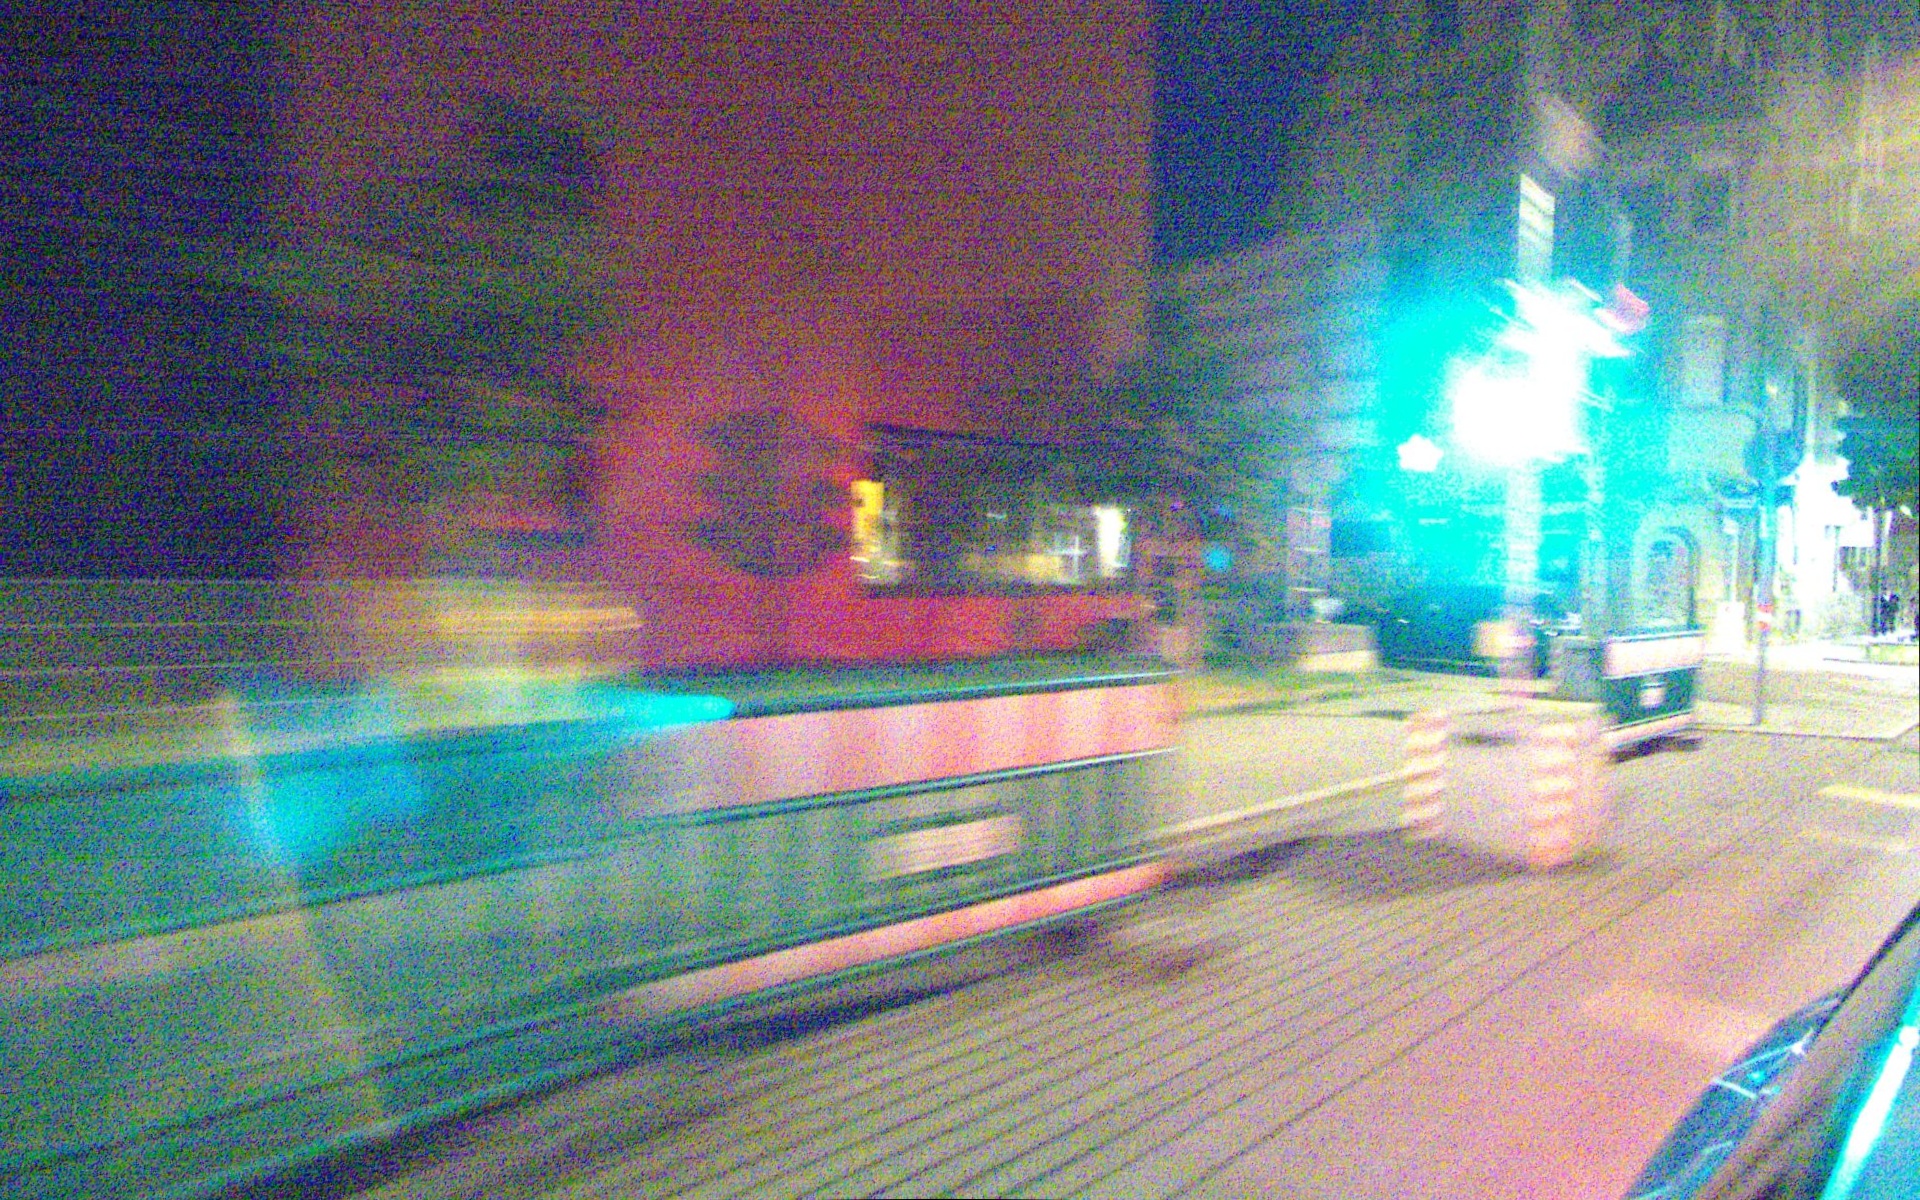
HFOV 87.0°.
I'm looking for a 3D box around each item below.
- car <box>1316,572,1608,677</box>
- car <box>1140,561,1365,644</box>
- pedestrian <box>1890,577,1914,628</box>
[{"bbox_3d":[8.311,0.301,17.025,1.821,1.439,4.021,-2,4,-41],"label":"car"},{"bbox_3d":[6.064,-0.025,21.352,1.821,1.485,4.197,0,3,-43],"label":"car"},{"bbox_3d":[32.149,0.077,34.540,0.561,1.730,0.478,0,2,-39],"label":"pedestrian"}]
